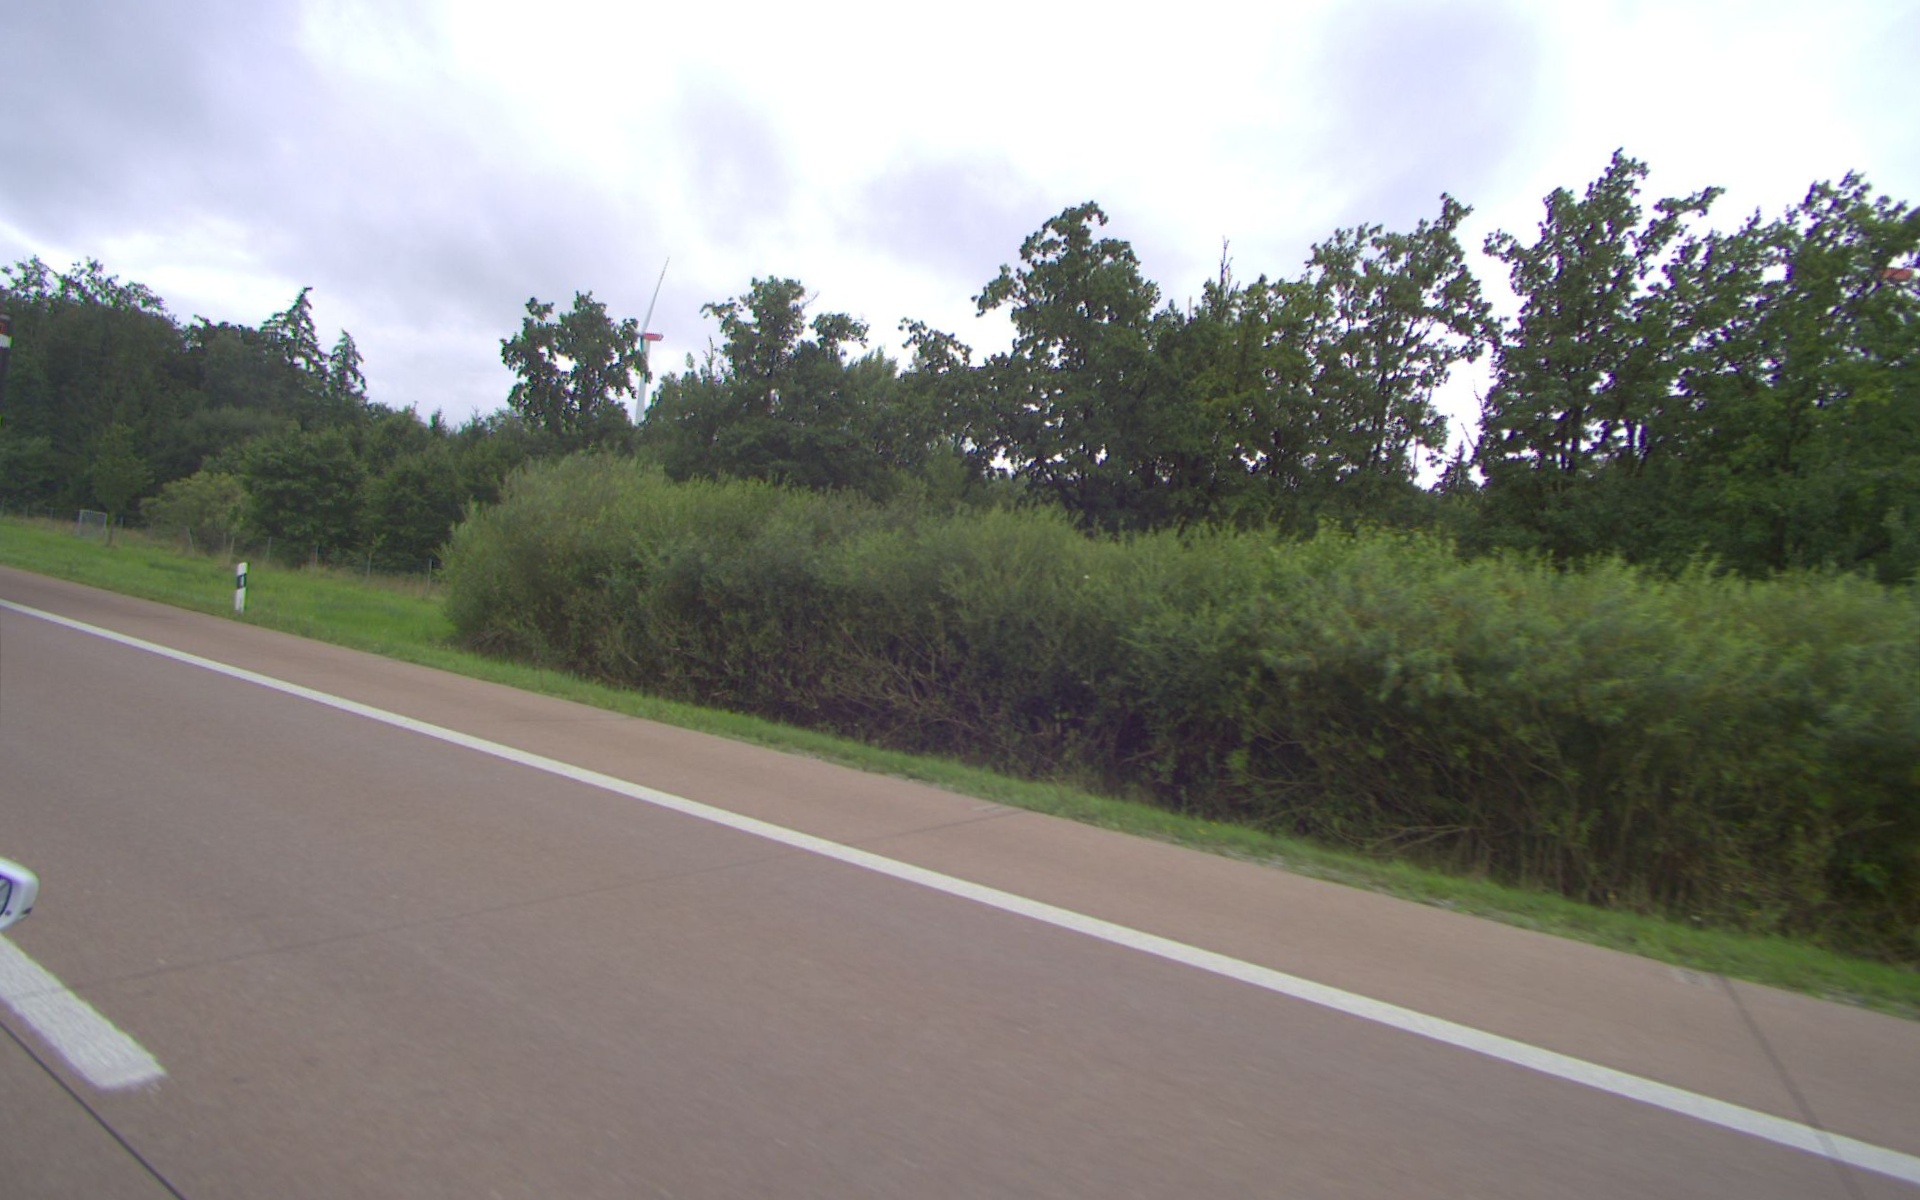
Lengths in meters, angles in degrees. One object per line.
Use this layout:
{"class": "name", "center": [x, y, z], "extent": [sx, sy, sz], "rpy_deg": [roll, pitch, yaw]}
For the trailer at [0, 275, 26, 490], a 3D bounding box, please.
{"class": "trailer", "center": [-19.172, -2.895, 15.711], "extent": [13.387, 4.345, 2.926], "rpy_deg": [7, -1, 32]}
